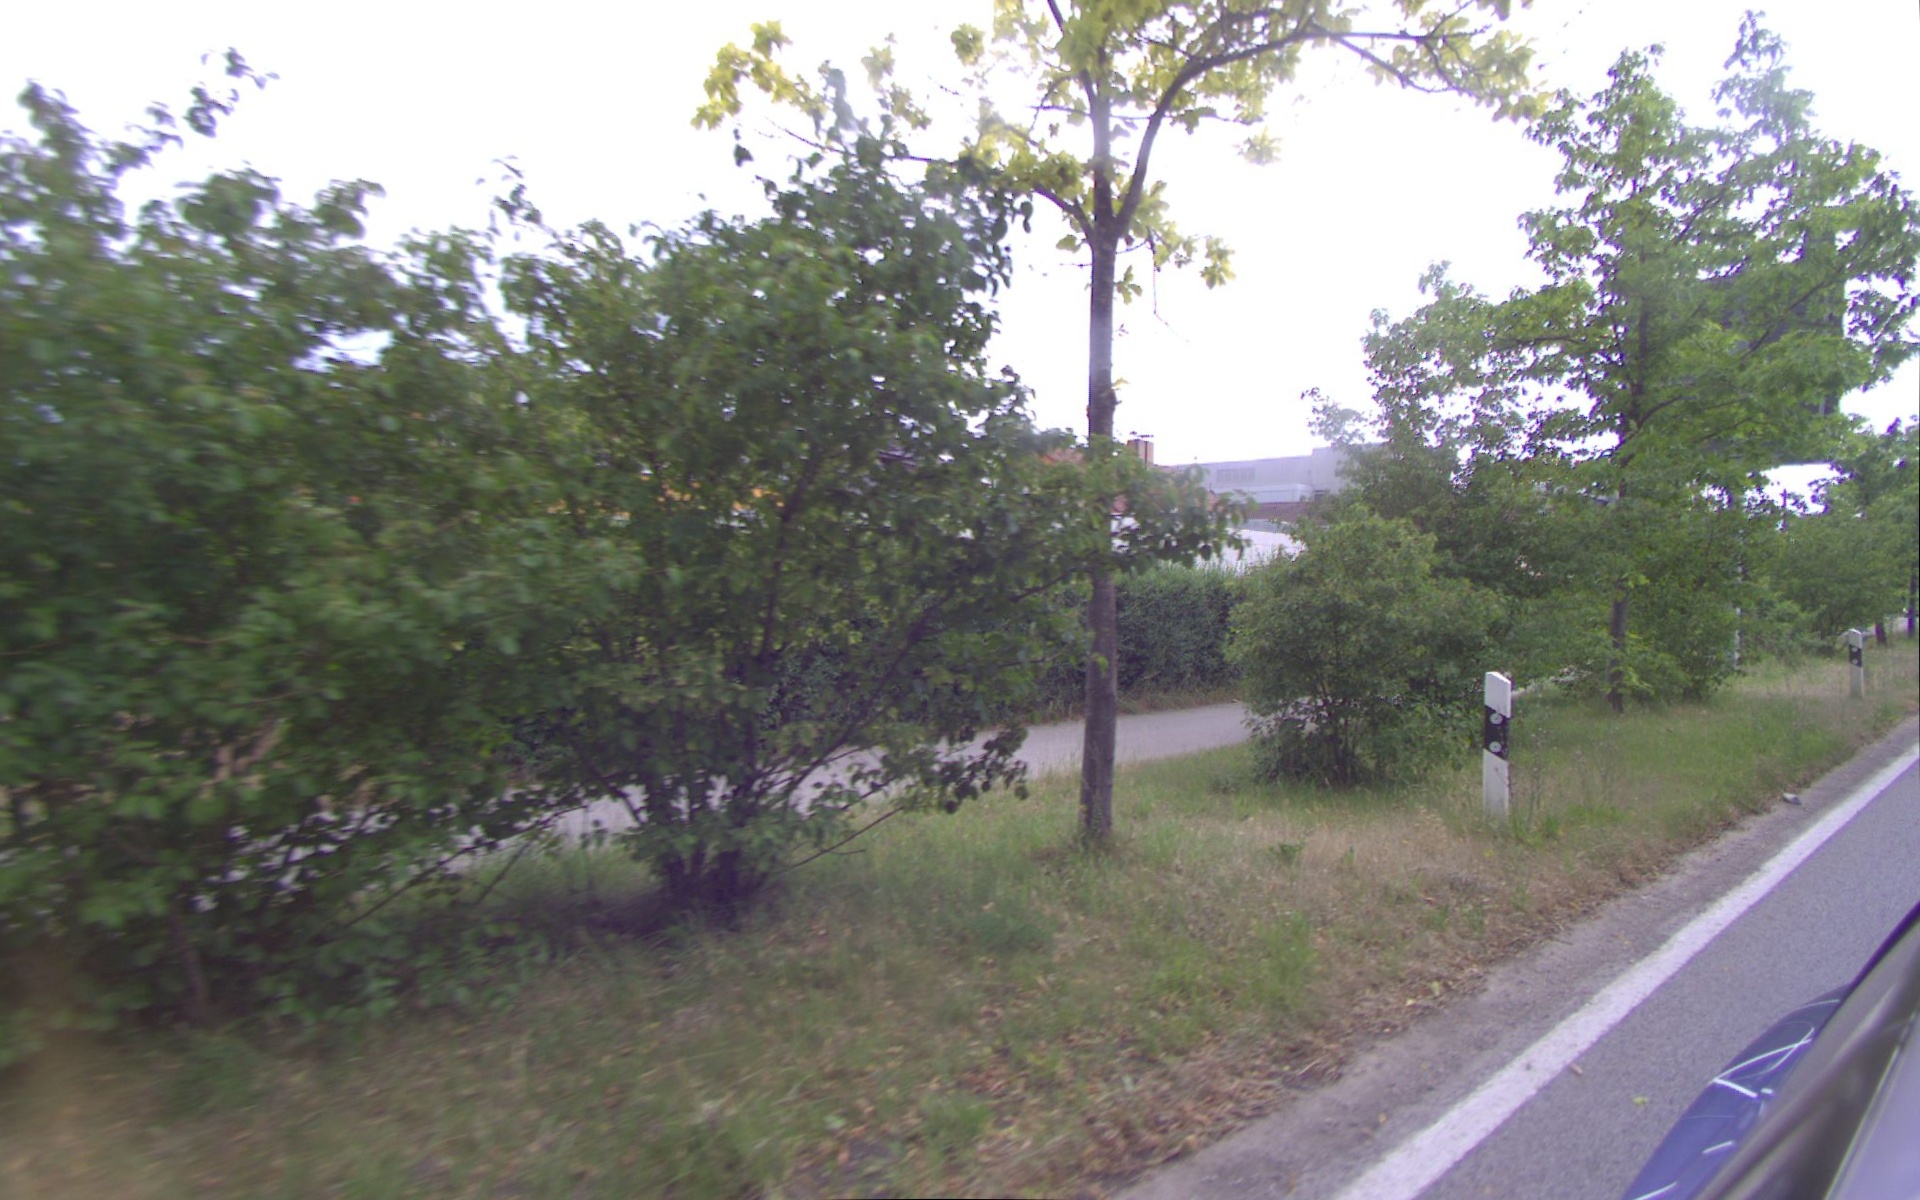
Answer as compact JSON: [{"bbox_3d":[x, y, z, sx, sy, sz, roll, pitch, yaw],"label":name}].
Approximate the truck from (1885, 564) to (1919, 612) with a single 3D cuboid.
[{"bbox_3d":[71.570,-0.884,74.453,2.584,3.491,7.455,0,0,21],"label":"truck"}]
